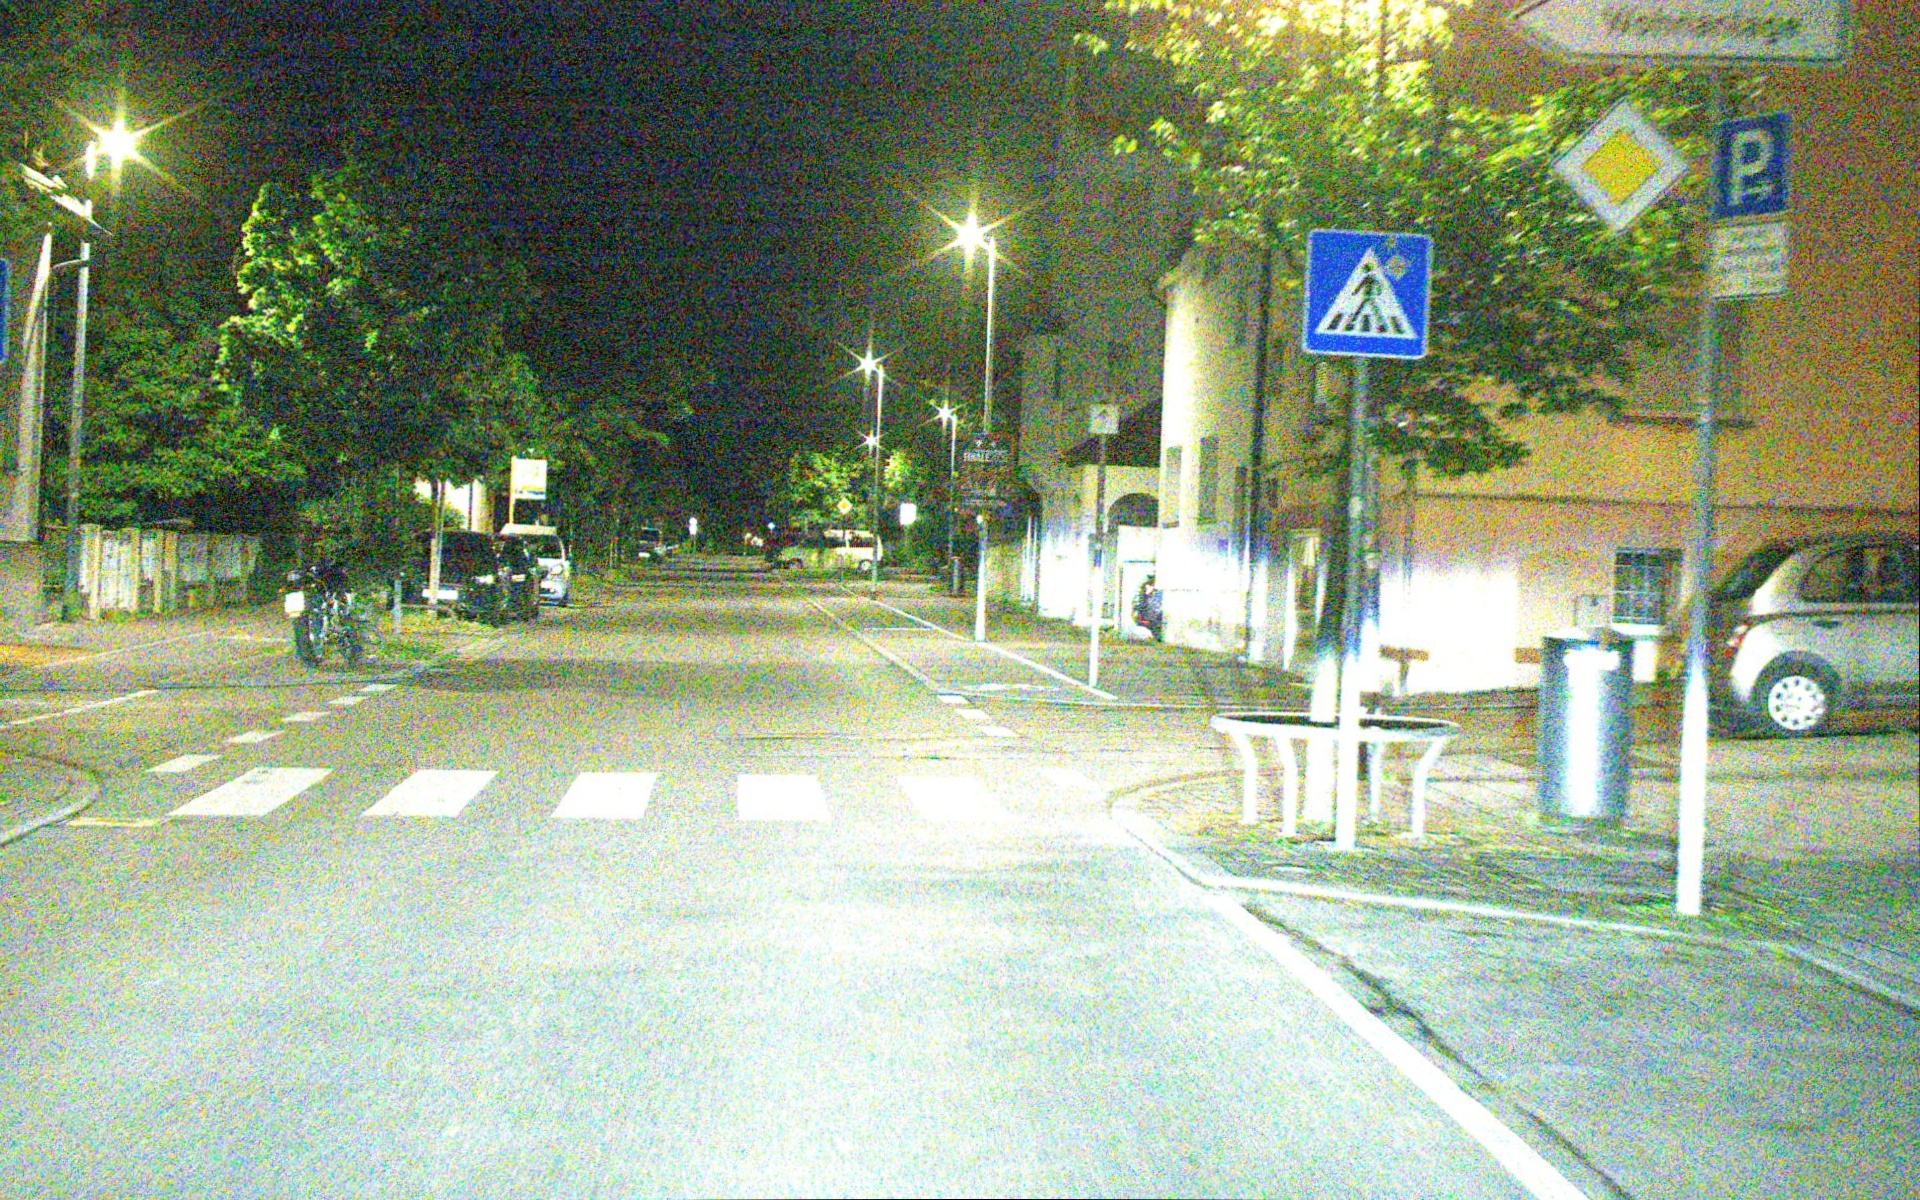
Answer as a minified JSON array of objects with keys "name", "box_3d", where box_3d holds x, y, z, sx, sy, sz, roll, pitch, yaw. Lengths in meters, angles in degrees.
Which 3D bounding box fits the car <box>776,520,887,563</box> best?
[{"name":"car","box_3d":[-6.182,-2.809,164.895,5.181,2.007,2.102,0,1,-5]}]

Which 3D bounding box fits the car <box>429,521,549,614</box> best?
[{"name":"car","box_3d":[-8.348,-0.600,61.244,1.766,1.514,4.279,3,1,-4]}]

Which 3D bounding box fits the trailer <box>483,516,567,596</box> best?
[{"name":"trailer","box_3d":[-9.899,-1.004,78.353,1.448,1.682,3.426,4,1,-1]}]

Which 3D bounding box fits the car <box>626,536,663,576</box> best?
[{"name":"car","box_3d":[-16.984,-2.349,184.971,1.824,1.980,4.466,4,-1,-5]}]

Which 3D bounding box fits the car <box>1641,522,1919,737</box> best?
[{"name":"car","box_3d":[7.145,0.174,26.045,3.505,1.519,1.821,-2,1,-4]}]

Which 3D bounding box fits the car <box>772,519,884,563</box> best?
[{"name":"car","box_3d":[-6.229,-2.765,161.718,5.181,2.007,2.102,0,1,-5]}]

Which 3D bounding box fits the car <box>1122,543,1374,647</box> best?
[{"name":"car","box_3d":[4.449,-0.081,53.487,3.711,1.468,1.730,2,0,-1]}]

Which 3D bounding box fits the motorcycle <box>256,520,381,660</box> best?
[{"name":"motorcycle","box_3d":[-6.919,-0.123,37.169,0.746,1.447,2.195,2,1,5]}]

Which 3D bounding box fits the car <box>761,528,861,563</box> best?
[{"name":"car","box_3d":[-8.076,-2.967,186.530,5.183,1.880,2.101,0,1,6]}]

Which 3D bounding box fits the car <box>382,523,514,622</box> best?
[{"name":"car","box_3d":[-8.292,-0.471,55.971,1.688,1.505,4.279,2,1,-3]}]

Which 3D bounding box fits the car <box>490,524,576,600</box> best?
[{"name":"car","box_3d":[-9.325,-0.838,75.208,1.671,1.517,2.979,4,1,-5]}]
